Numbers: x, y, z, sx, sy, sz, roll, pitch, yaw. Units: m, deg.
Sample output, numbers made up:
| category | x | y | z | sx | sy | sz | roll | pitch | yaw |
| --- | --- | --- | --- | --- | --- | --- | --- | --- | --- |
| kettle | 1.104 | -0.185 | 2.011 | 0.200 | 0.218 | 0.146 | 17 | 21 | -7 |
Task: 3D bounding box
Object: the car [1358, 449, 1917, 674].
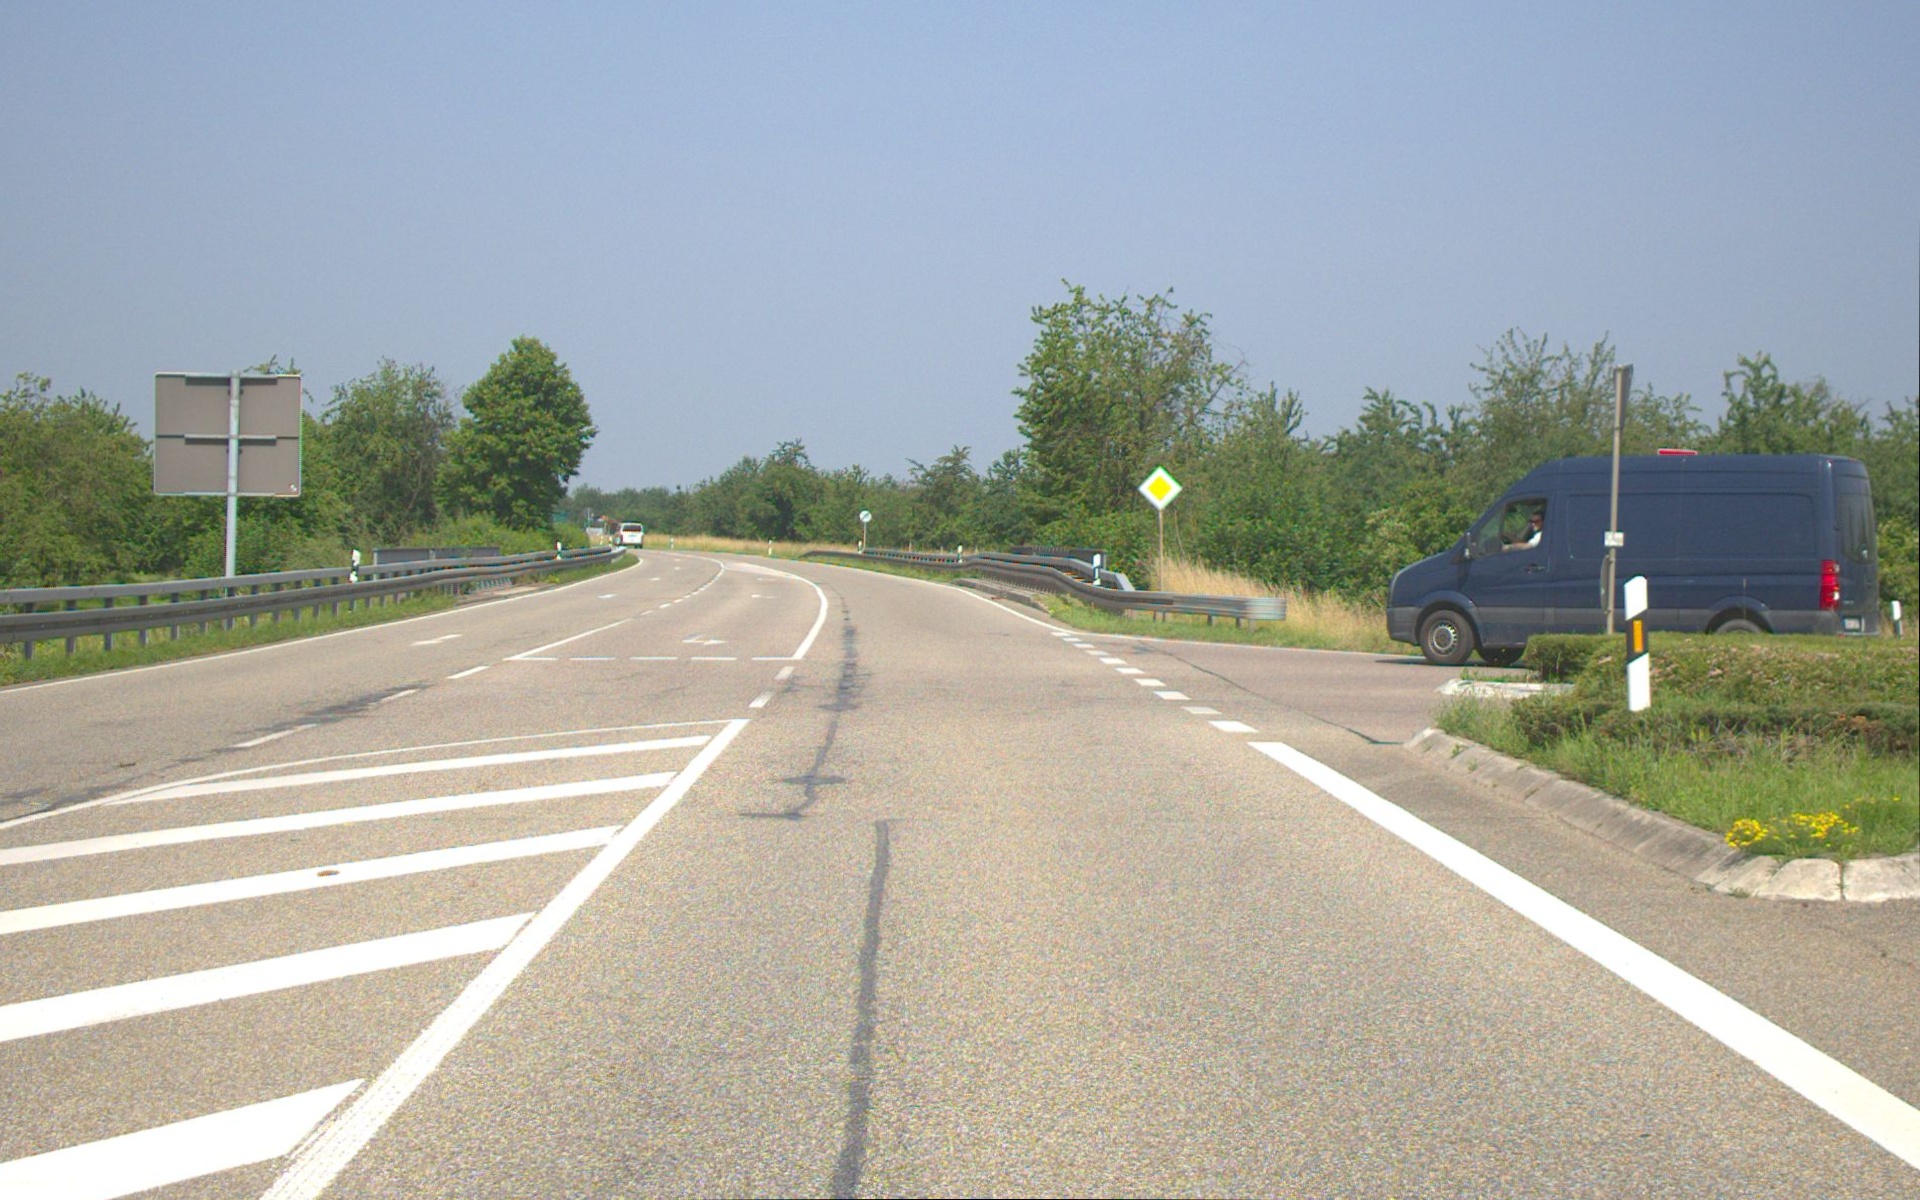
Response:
| category | x | y | z | sx | sy | sz | roll | pitch | yaw |
| --- | --- | --- | --- | --- | --- | --- | --- | --- | --- |
| car | 8.156 | -0.495 | 41.668 | 6.302 | 2.566 | 2.059 | 1 | 1 | 29 |
